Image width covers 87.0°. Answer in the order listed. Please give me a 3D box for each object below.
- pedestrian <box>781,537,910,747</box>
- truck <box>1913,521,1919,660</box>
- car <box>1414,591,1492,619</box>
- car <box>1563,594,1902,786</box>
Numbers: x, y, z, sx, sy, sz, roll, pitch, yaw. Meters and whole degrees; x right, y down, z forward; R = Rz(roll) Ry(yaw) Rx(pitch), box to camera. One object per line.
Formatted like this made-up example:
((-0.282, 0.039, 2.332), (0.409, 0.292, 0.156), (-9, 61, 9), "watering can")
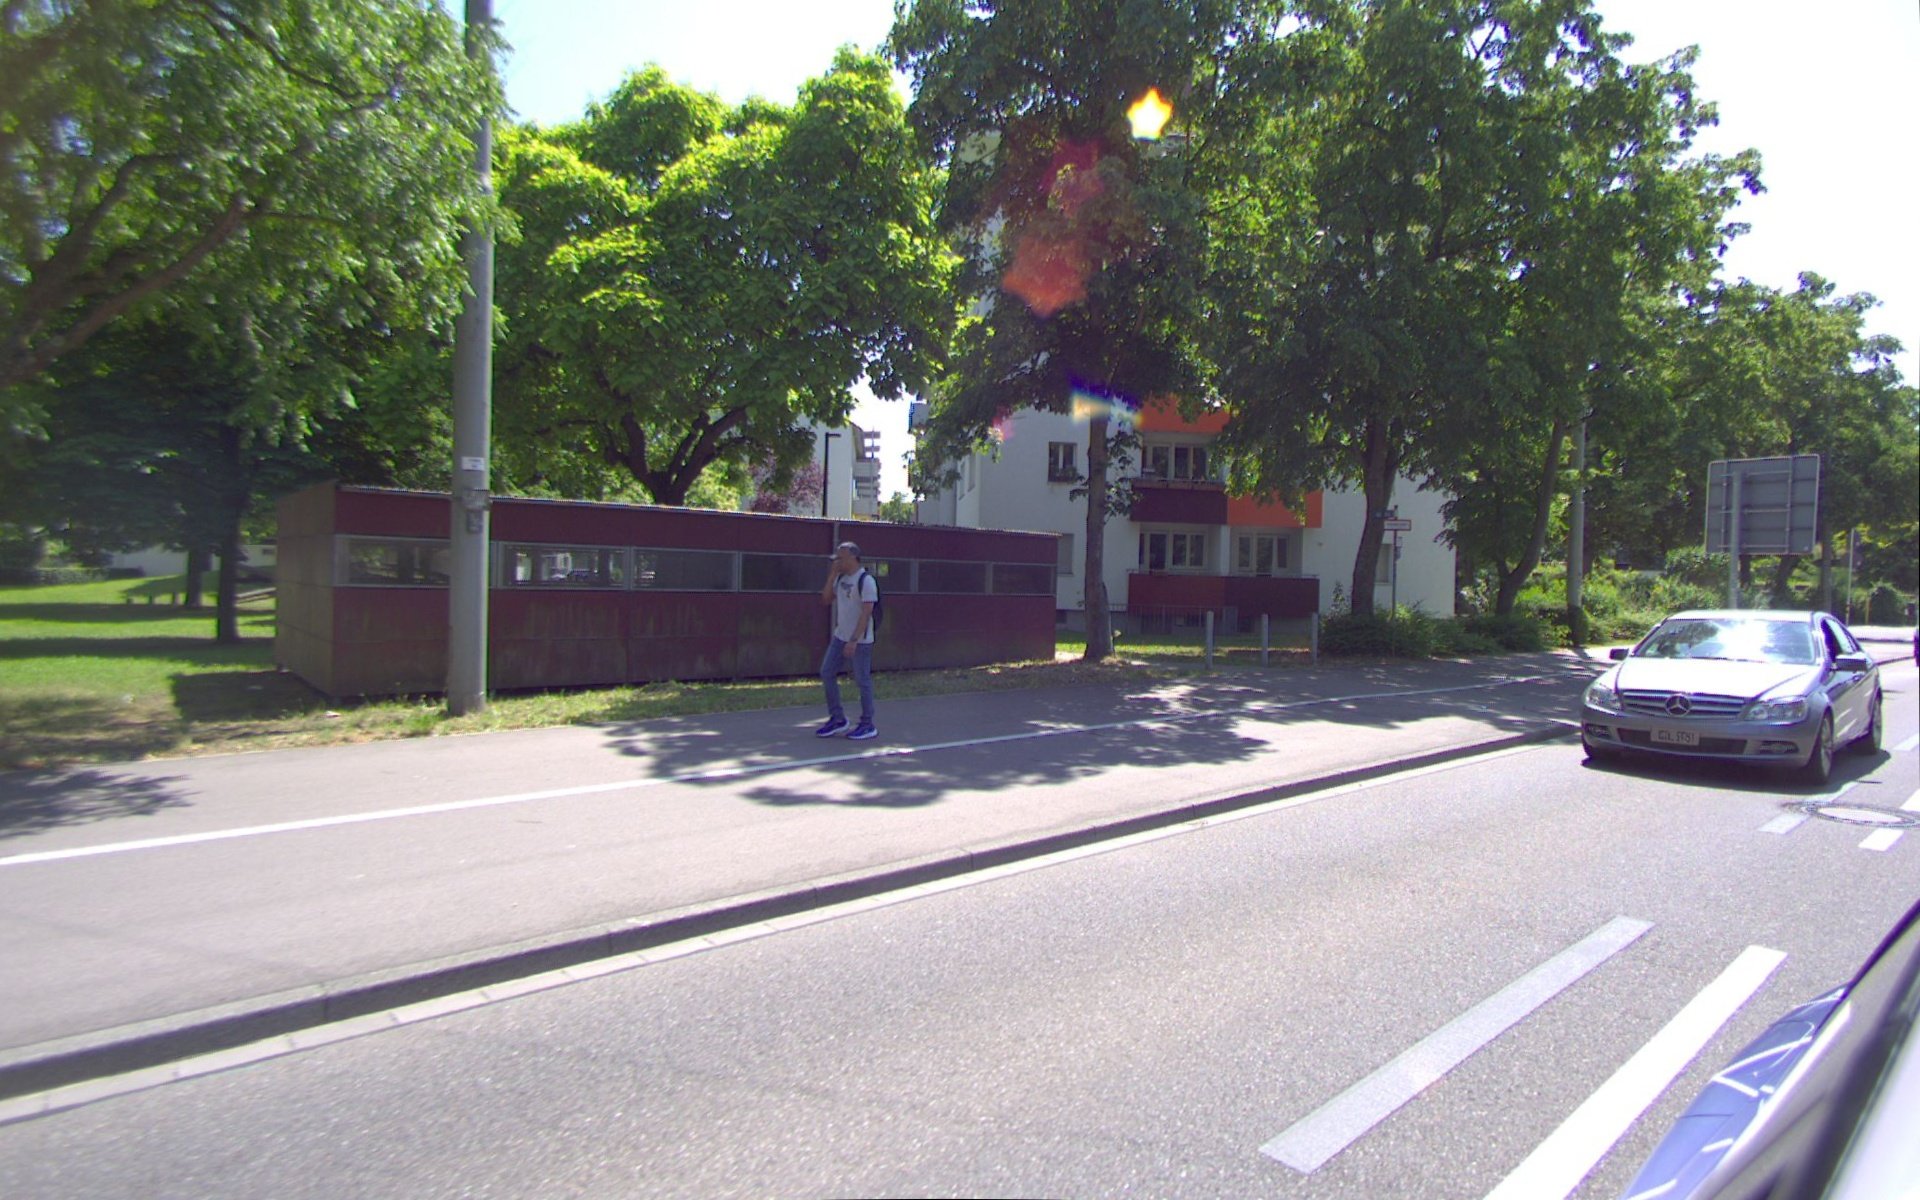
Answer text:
((-0.963, 0.324, 8.535), (0.841, 1.664, 0.670), (0, 1, -41), "pedestrian")
((26.811, -0.202, 25.923), (8.160, 3.319, 2.294), (0, 1, -38), "truck")
((30.267, 0.290, 62.203), (1.692, 1.560, 4.001), (0, 1, -34), "car")
((7.591, 0.708, 9.818), (3.902, 1.478, 1.902), (1, 0, -41), "car")
